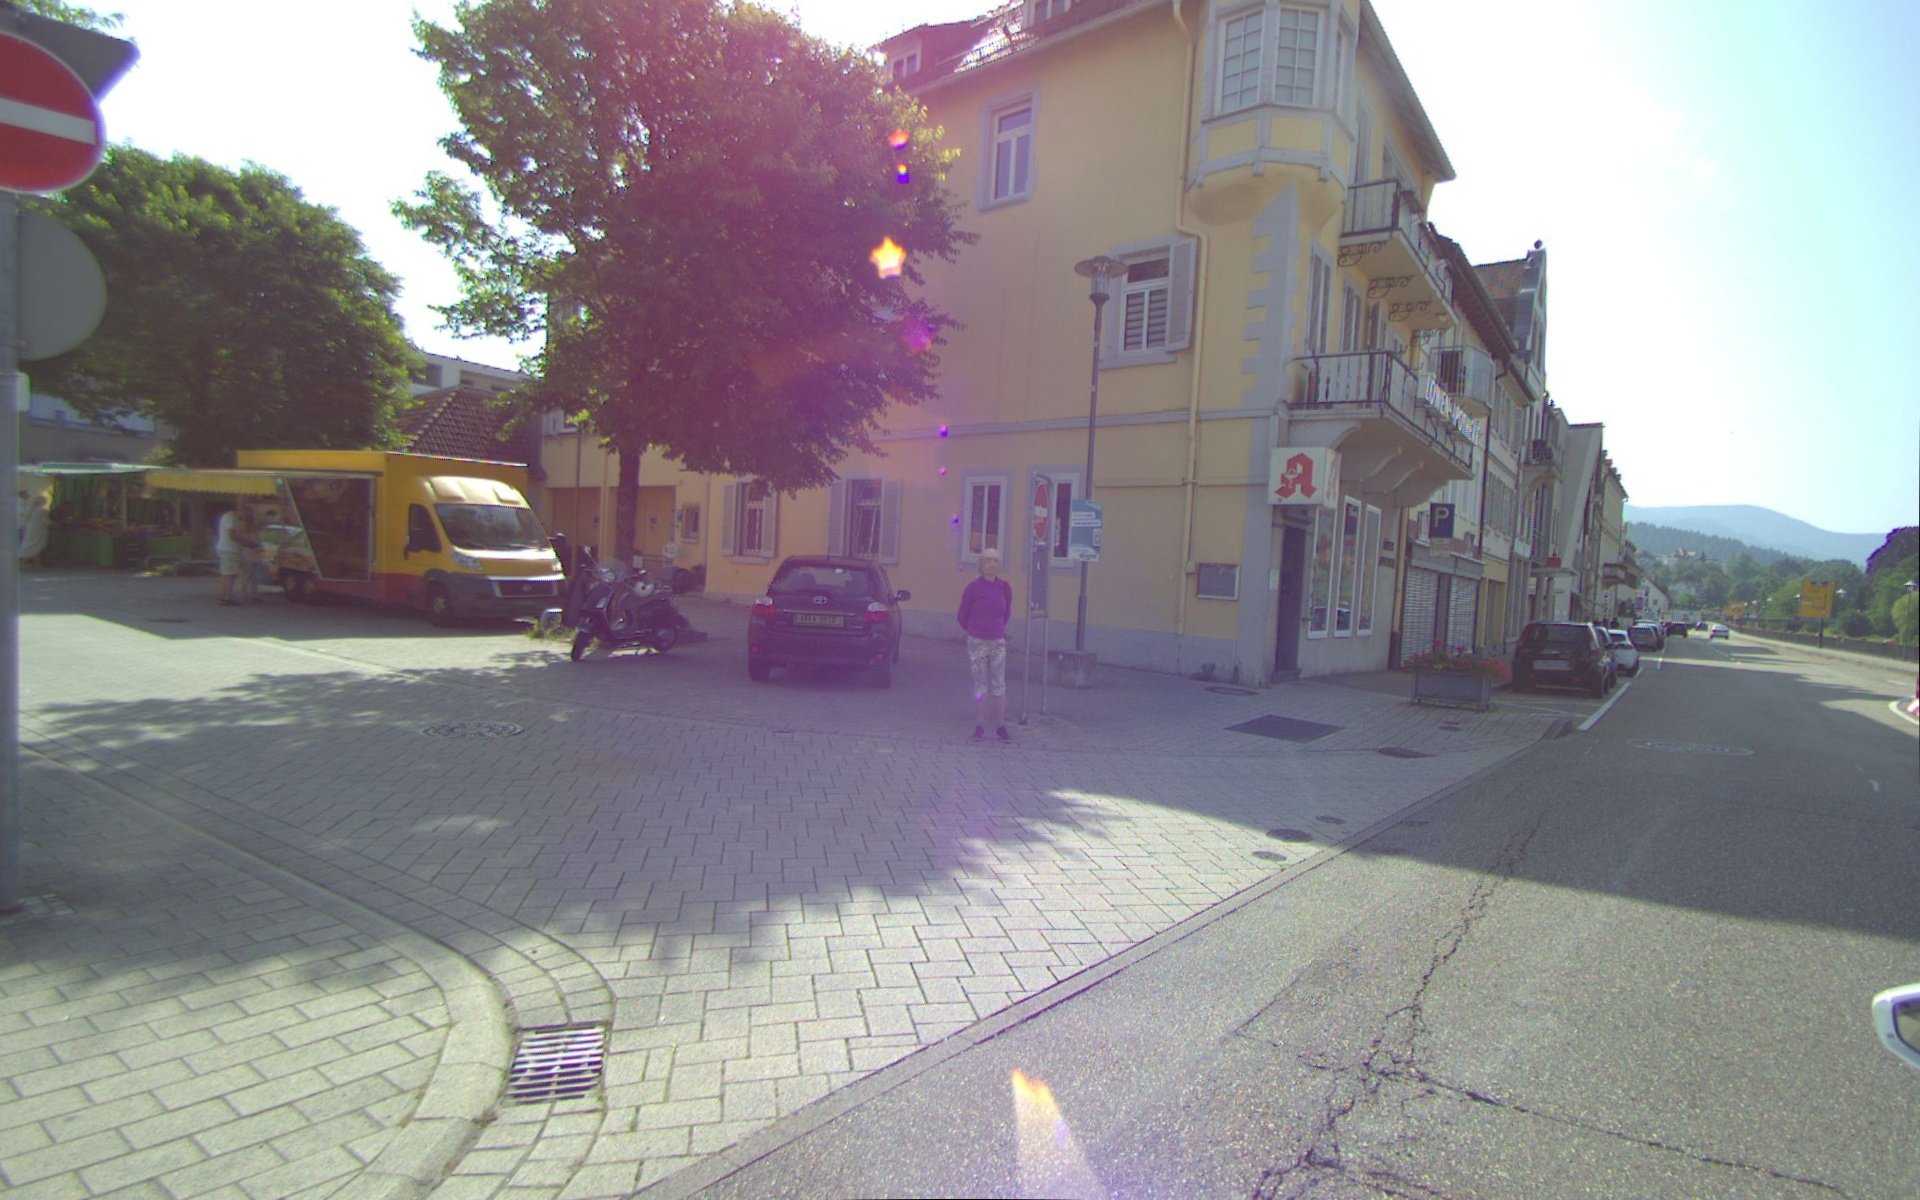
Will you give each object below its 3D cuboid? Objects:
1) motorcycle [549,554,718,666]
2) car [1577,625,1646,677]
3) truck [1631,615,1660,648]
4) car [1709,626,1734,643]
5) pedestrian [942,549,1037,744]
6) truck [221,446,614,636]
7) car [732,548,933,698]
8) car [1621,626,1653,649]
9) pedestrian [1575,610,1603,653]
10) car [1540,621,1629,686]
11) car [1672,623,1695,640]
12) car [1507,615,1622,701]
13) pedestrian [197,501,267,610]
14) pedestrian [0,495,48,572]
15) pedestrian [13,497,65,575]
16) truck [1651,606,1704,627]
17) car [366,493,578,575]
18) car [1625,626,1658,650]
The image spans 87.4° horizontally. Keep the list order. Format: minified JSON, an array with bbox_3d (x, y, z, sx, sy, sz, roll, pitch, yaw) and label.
[{"bbox_3d":[-4.393,0.091,13.650,0.873,1.379,2.080,4,4,35],"label":"motorcycle"},{"bbox_3d":[21.253,1.600,32.714,1.724,1.467,3.782,3,1,35],"label":"car"},{"bbox_3d":[54.718,2.496,80.145,1.724,2.501,4.646,3,1,35],"label":"truck"},{"bbox_3d":[85.003,3.873,112.140,1.968,1.684,3.986,5,2,36],"label":"car"},{"bbox_3d":[0.261,0.415,9.323,0.668,1.738,0.616,2,2,-12],"label":"pedestrian"},{"bbox_3d":[-10.344,-1.200,18.613,8.718,2.795,2.999,6,4,37],"label":"truck"},{"bbox_3d":[-1.500,0.160,13.263,1.885,1.564,3.959,4,3,3],"label":"car"},{"bbox_3d":[41.582,2.285,61.683,1.543,1.236,3.266,3,1,35],"label":"car"},{"bbox_3d":[26.150,1.317,41.782,0.651,1.719,0.686,2,1,-26],"label":"pedestrian"},{"bbox_3d":[16.233,1.340,26.059,1.724,1.467,3.266,3,1,35],"label":"car"},{"bbox_3d":[81.242,3.541,112.816,1.968,1.684,3.986,5,2,36],"label":"car"},{"bbox_3d":[13.013,1.169,21.545,1.822,1.589,3.556,3,1,35],"label":"car"},{"bbox_3d":[-12.631,-0.774,17.436,0.712,1.811,0.682,4,4,14],"label":"pedestrian"},{"bbox_3d":[-21.392,-1.508,22.887,0.571,1.704,0.681,3,3,20],"label":"pedestrian"},{"bbox_3d":[-20.696,-1.431,22.584,0.571,1.704,0.681,4,4,20],"label":"pedestrian"},{"bbox_3d":[132.350,3.073,185.260,9.063,3.308,3.067,3,1,-19],"label":"truck"},{"bbox_3d":[-13.537,-1.768,28.215,1.965,1.916,5.060,3,1,32],"label":"car"},{"bbox_3d":[45.211,2.481,66.627,1.724,1.467,3.266,3,1,35],"label":"car"}]
